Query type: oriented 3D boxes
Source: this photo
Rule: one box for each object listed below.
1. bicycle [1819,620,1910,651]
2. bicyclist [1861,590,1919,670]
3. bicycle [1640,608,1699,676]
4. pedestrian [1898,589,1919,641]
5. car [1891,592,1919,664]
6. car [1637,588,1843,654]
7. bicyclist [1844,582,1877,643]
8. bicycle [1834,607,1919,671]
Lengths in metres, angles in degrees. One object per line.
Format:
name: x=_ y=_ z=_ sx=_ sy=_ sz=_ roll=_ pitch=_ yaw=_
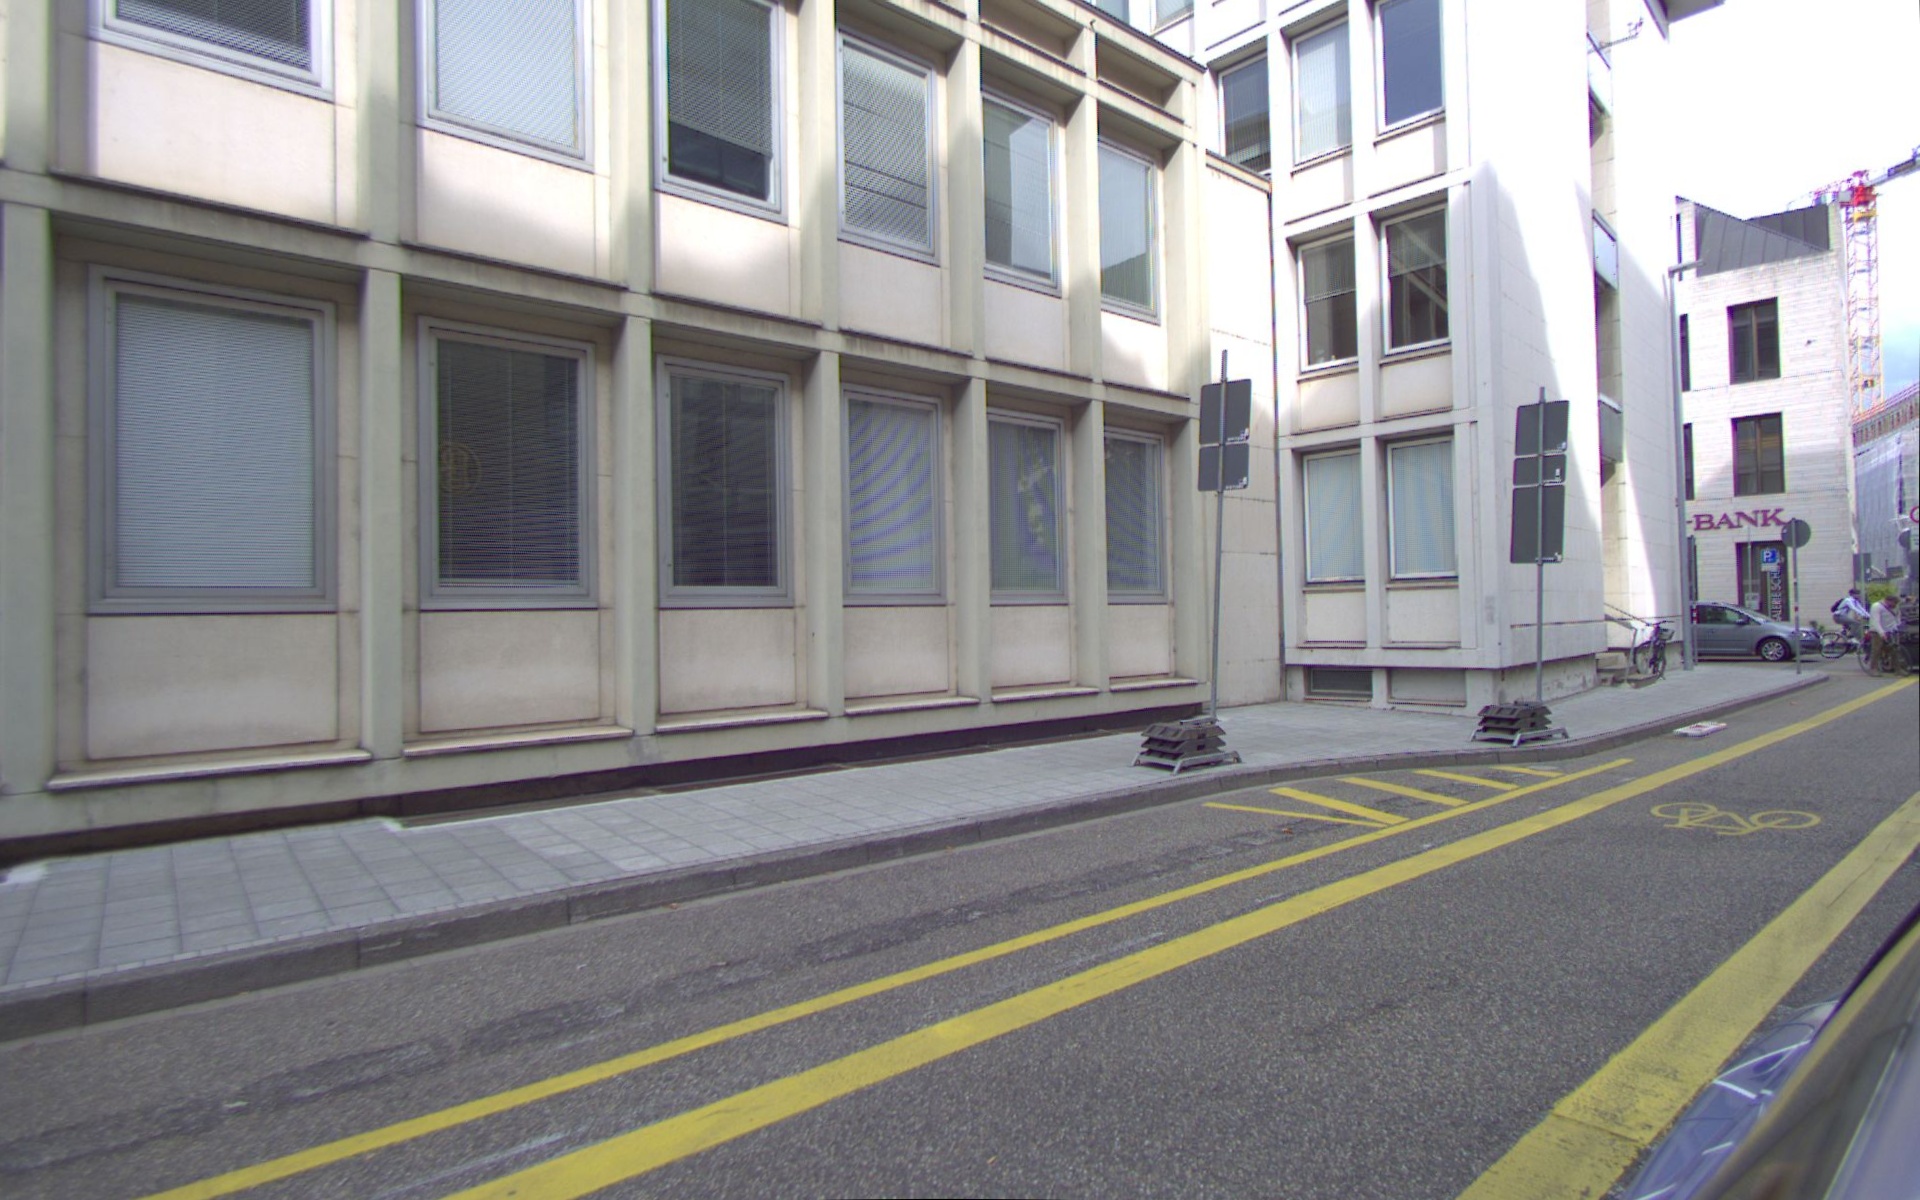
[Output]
bicycle: x=24.284 y=0.945 z=27.183 sx=0.652 sy=0.807 sz=1.765 roll=-1 pitch=-1 yaw=-43
bicyclist: x=19.330 y=0.604 z=20.808 sx=0.881 sy=1.614 sz=0.872 roll=-1 pitch=-1 yaw=19
bicycle: x=13.291 y=0.755 z=18.945 sx=0.589 sy=1.182 sz=1.786 roll=-2 pitch=-1 yaw=45
pedestrian: x=33.976 y=0.528 z=35.978 sx=0.858 sy=1.854 sz=0.762 roll=-2 pitch=-1 yaw=43
car: x=20.678 y=0.559 z=19.893 sx=1.690 sy=1.510 sz=3.753 roll=-2 pitch=-1 yaw=10
car: x=21.223 y=0.612 z=27.663 sx=1.785 sy=1.611 sz=4.185 roll=-1 pitch=-2 yaw=-43
bicyclist: x=24.238 y=0.342 z=27.237 sx=0.652 sy=1.616 sz=0.585 roll=-1 pitch=-1 yaw=-43
bicycle: x=19.411 y=0.766 z=21.026 sx=0.860 sy=1.210 sz=2.846 roll=-1 pitch=0 yaw=19
